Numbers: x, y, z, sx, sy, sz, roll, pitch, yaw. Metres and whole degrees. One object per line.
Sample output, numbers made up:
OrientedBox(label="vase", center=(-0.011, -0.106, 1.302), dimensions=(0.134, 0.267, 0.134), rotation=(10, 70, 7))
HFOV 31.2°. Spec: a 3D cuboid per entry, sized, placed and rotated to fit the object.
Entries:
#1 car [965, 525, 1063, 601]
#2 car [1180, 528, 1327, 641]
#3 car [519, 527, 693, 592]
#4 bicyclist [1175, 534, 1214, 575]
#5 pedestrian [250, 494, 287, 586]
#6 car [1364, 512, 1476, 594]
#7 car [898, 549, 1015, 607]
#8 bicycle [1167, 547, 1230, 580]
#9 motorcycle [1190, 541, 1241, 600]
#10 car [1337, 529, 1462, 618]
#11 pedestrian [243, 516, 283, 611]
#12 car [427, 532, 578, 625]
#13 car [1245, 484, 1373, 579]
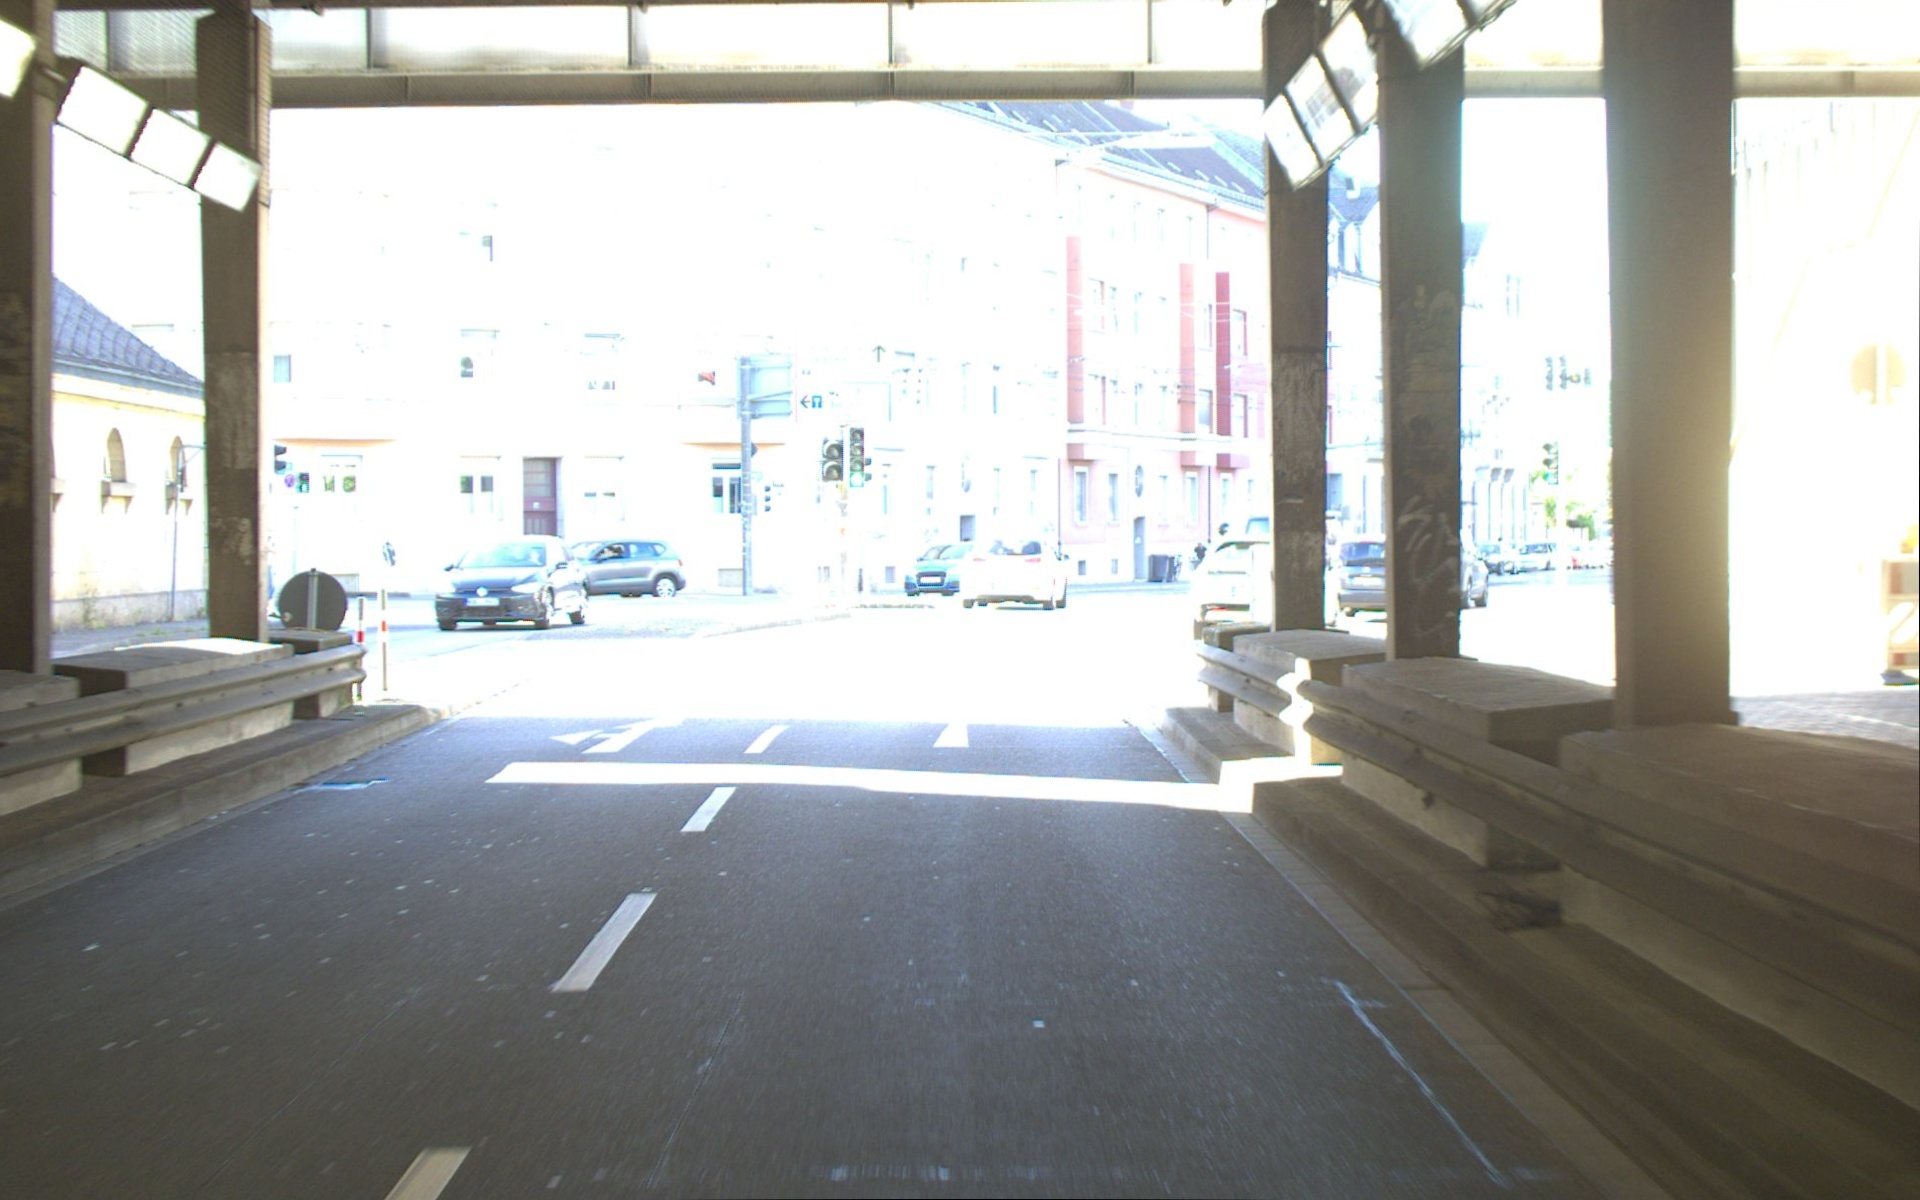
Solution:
OrientedBox(label="car", center=(1.014, -0.719, 64.919), dimensions=(1.786, 1.389, 4.105), rotation=(-1, 1, 1))
OrientedBox(label="car", center=(4.252, -0.257, 49.312), dimensions=(1.948, 1.523, 4.089), rotation=(0, 1, 7))
OrientedBox(label="car", center=(-8.851, -1.028, 85.945), dimensions=(3.868, 1.568, 1.930), rotation=(-1, 2, -33))
OrientedBox(label="bicyclist", center=(7.908, -1.539, 115.765), dimensions=(0.935, 1.377, 1.146), rotation=(0, 1, 26))
OrientedBox(label="pedestrian", center=(-12.335, -1.074, 61.324), dimensions=(0.487, 1.634, 0.625), rotation=(-1, 1, -27))
OrientedBox(label="car", center=(9.242, -0.949, 68.877), dimensions=(1.815, 1.576, 3.998), rotation=(0, 1, 13))
OrientedBox(label="car", center=(-0.063, -0.583, 87.674), dimensions=(1.812, 1.386, 4.244), rotation=(0, 2, 17))
OrientedBox(label="bicycle", center=(8.067, -1.233, 116.067), dimensions=(0.935, 1.052, 3.350), rotation=(0, 1, 25))
OrientedBox(label="motorcycle", center=(4.908, -0.570, 65.938), dimensions=(0.777, 1.078, 2.280), rotation=(0, 1, 9))
OrientedBox(label="car", center=(7.819, -0.503, 60.893), dimensions=(1.732, 1.495, 3.998), rotation=(0, 2, 14))
OrientedBox(label="pedestrian", center=(-12.052, -0.636, 59.470), dimensions=(0.513, 1.634, 0.625), rotation=(-1, 1, -27))
OrientedBox(label="car", center=(-7.292, -0.376, 55.190), dimensions=(1.752, 1.400, 4.415), rotation=(0, 1, 1))
OrientedBox(label="car", center=(7.759, -1.511, 76.101), dimensions=(2.173, 2.002, 4.805), rotation=(-1, 1, 13))
